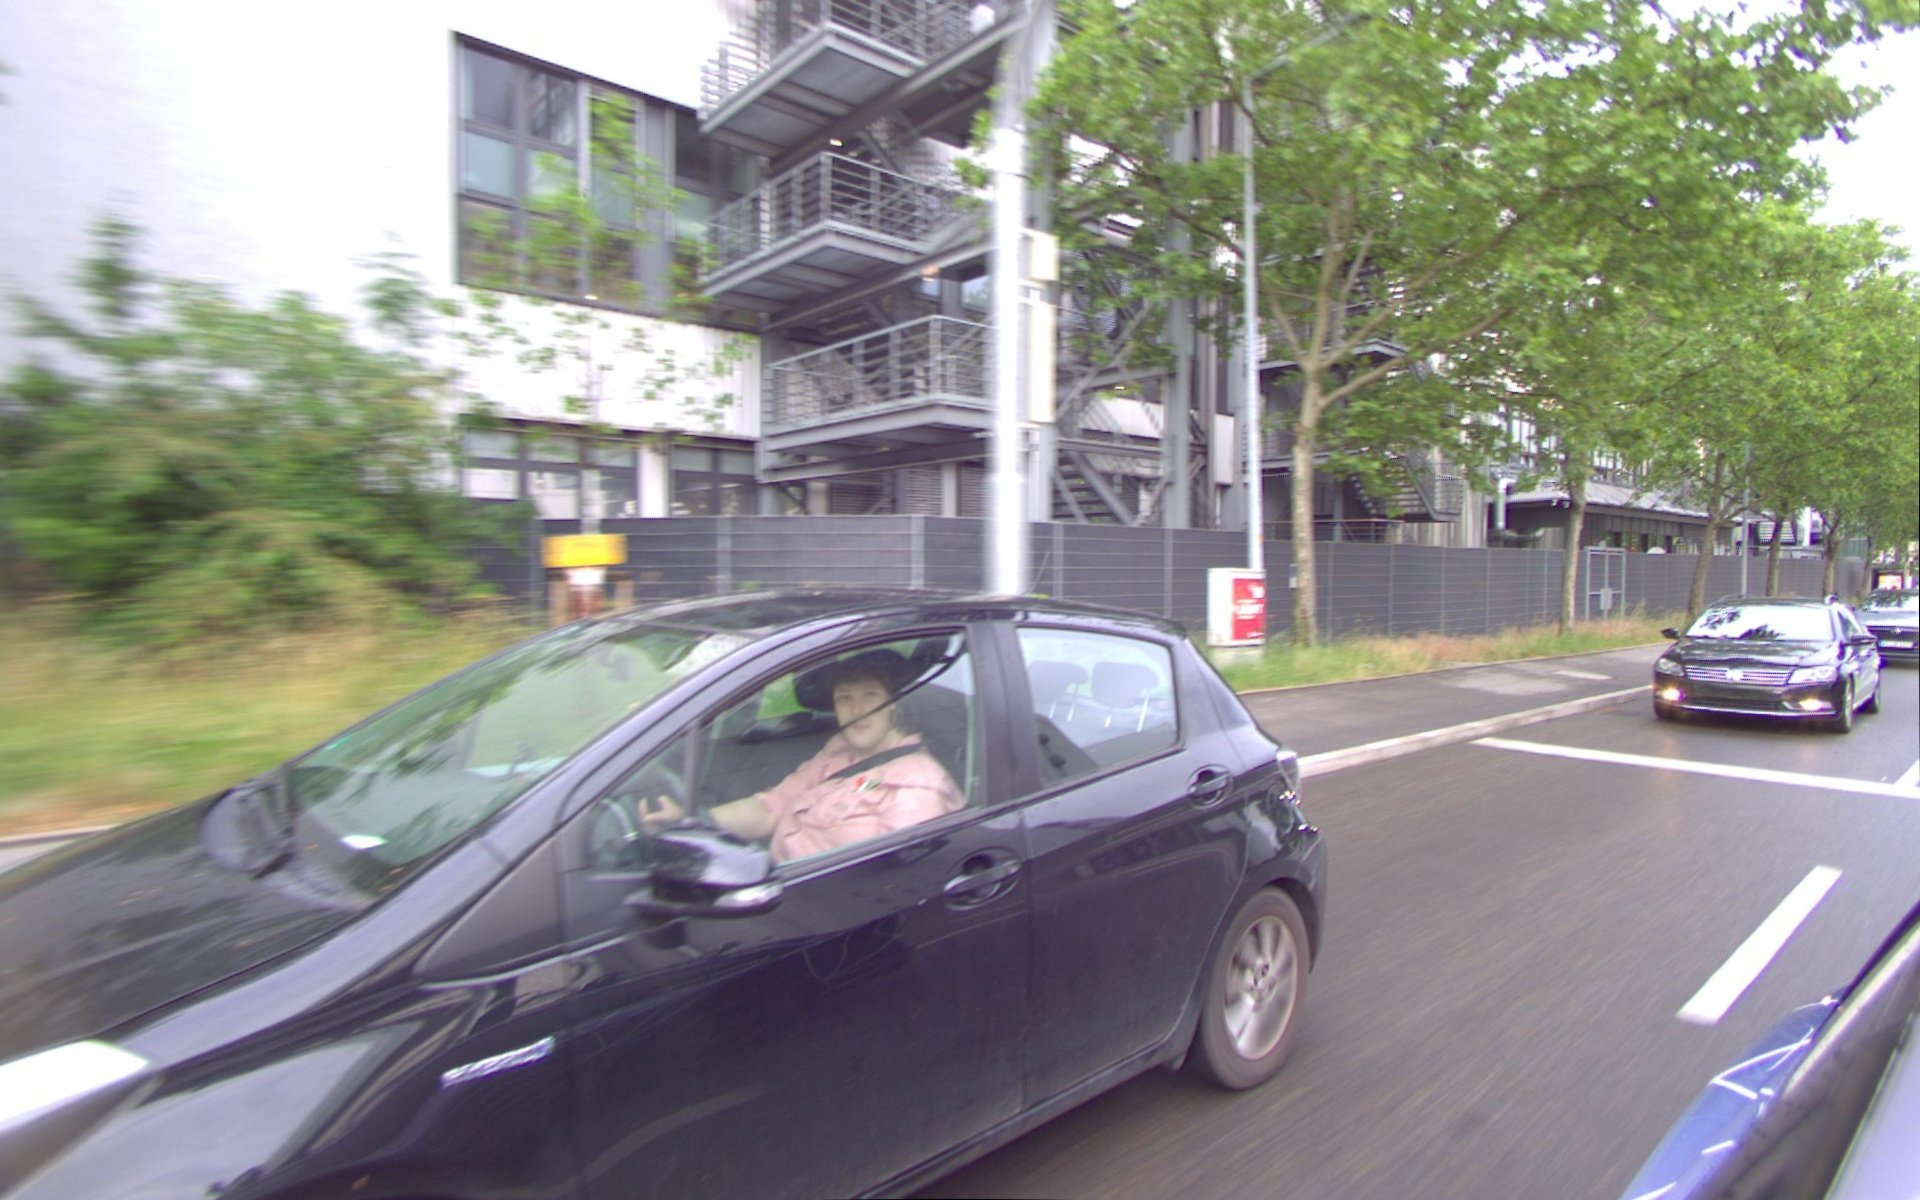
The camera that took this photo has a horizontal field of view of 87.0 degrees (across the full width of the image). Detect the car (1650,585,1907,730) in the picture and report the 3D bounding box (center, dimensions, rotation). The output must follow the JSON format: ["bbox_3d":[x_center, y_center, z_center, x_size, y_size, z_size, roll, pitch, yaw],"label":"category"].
[{"bbox_3d":[10.059,0.547,12.306,4.439,1.448,1.747,-1,1,-42],"label":"car"}]

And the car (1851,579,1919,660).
[{"bbox_3d":[20.518,0.365,21.538,4.258,1.610,1.824,-1,2,-42],"label":"car"}]

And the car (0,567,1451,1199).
[{"bbox_3d":[-0.488,0.678,2.815,4.561,1.488,1.747,-1,1,-42],"label":"car"}]
